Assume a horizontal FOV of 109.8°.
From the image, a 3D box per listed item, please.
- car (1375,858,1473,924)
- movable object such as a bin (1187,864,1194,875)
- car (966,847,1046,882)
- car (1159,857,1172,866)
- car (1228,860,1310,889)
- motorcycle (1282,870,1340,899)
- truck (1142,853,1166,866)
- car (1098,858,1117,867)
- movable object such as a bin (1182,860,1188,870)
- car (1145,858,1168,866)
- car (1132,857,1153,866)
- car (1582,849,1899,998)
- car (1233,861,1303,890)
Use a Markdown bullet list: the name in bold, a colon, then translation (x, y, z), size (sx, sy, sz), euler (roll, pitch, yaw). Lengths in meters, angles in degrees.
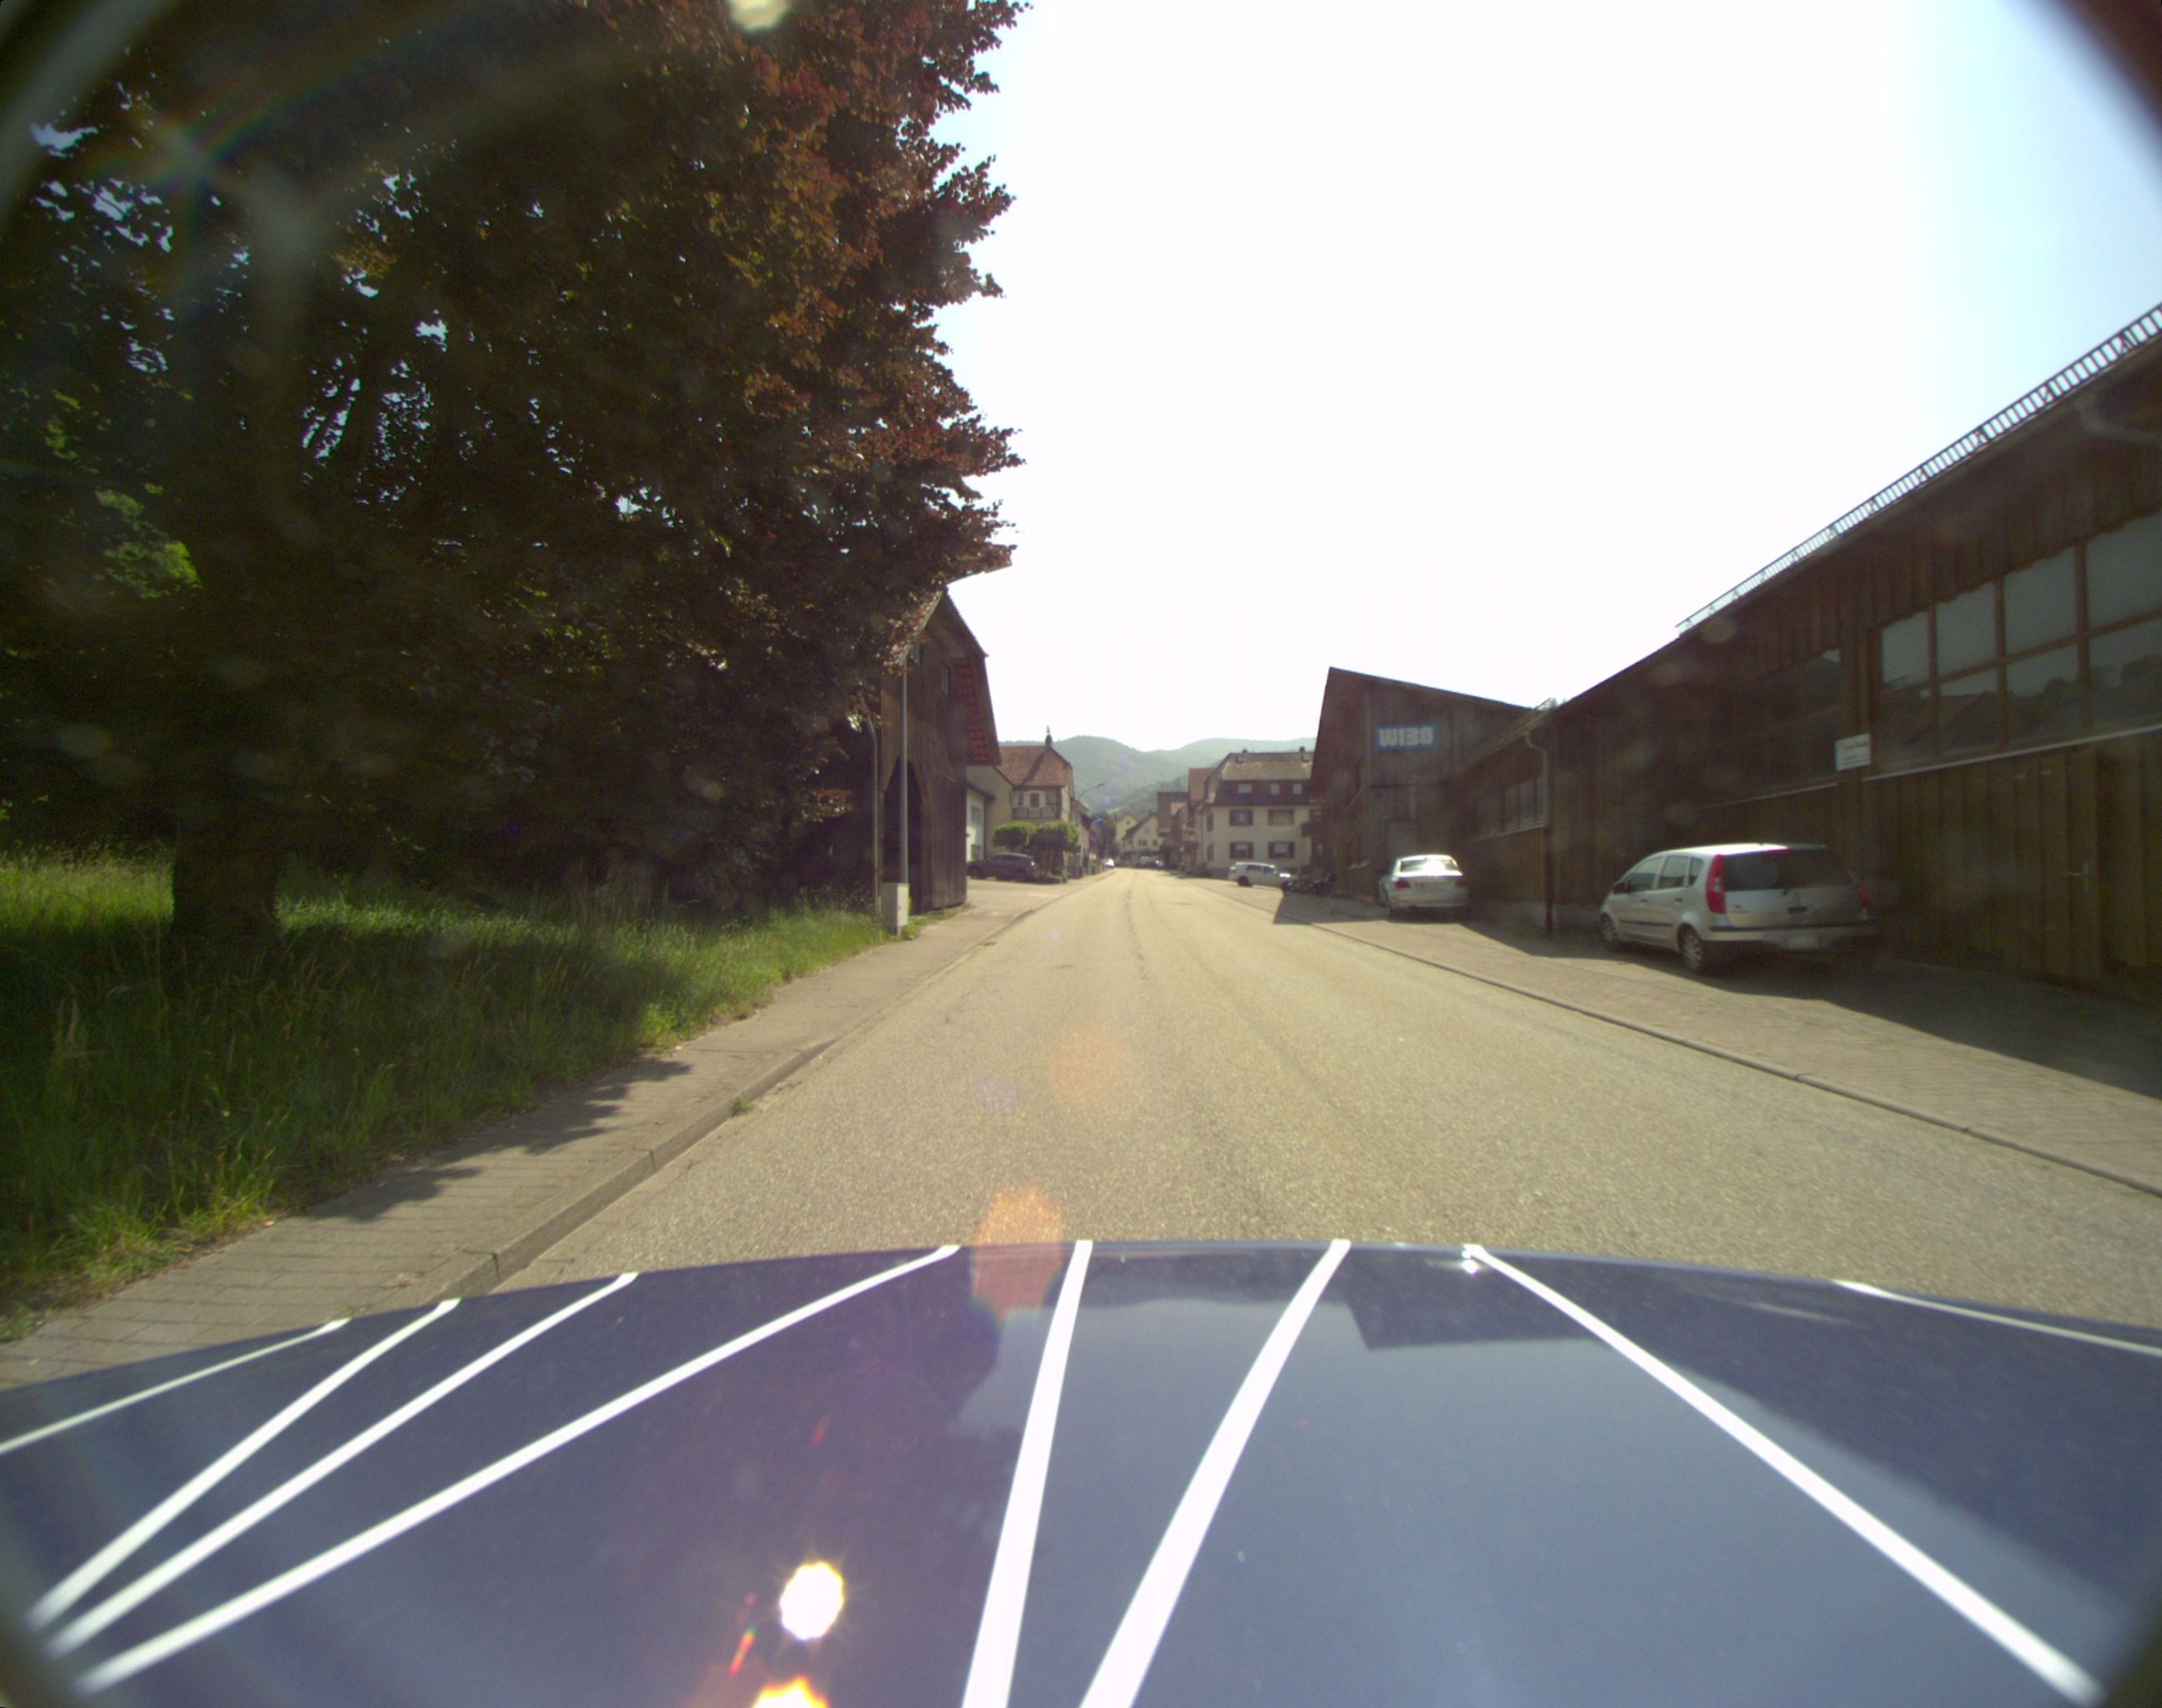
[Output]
- **car**: translation (8.470, 0.861, 19.139), size (1.731, 1.445, 4.812), euler (-1, -1, 18)
- **movable object such as a bin**: translation (11.020, 1.547, 76.420), size (0.677, 1.060, 0.621), euler (0, 0, 3)
- **car**: translation (-4.389, 0.607, 44.694), size (4.228, 1.677, 1.778), euler (4, 1, 8)
- **car**: translation (14.327, 1.310, 129.324), size (1.774, 1.544, 4.286), euler (-2, 0, 2)
- **car**: translation (11.531, 1.236, 46.692), size (4.430, 1.466, 1.929), euler (3, 1, 30)
- **motorcycle**: translation (10.083, 1.329, 33.396), size (2.412, 1.257, 0.744), euler (0, 0, 14)
- **truck**: translation (13.598, 1.018, 141.744), size (4.176, 2.253, 2.000), euler (-1, 0, -1)
- **car**: translation (4.683, 1.488, 136.487), size (2.002, 1.672, 3.993), euler (0, 0, -20)
- **movable object such as a bin**: translation (13.158, 1.406, 96.338), size (0.719, 1.174, 0.598), euler (1, 0, 5)
- **car**: translation (13.563, 1.414, 136.728), size (4.104, 1.494, 1.754), euler (0, 0, 3)
- **car**: translation (12.009, 1.454, 148.834), size (3.995, 1.563, 1.578), euler (1, 0, 6)
- **car**: translation (8.374, 0.777, 10.168), size (1.583, 1.560, 4.028), euler (-4, -1, 16)
- **car**: translation (10.821, 1.228, 43.976), size (3.662, 1.377, 1.713), euler (4, 1, 20)
